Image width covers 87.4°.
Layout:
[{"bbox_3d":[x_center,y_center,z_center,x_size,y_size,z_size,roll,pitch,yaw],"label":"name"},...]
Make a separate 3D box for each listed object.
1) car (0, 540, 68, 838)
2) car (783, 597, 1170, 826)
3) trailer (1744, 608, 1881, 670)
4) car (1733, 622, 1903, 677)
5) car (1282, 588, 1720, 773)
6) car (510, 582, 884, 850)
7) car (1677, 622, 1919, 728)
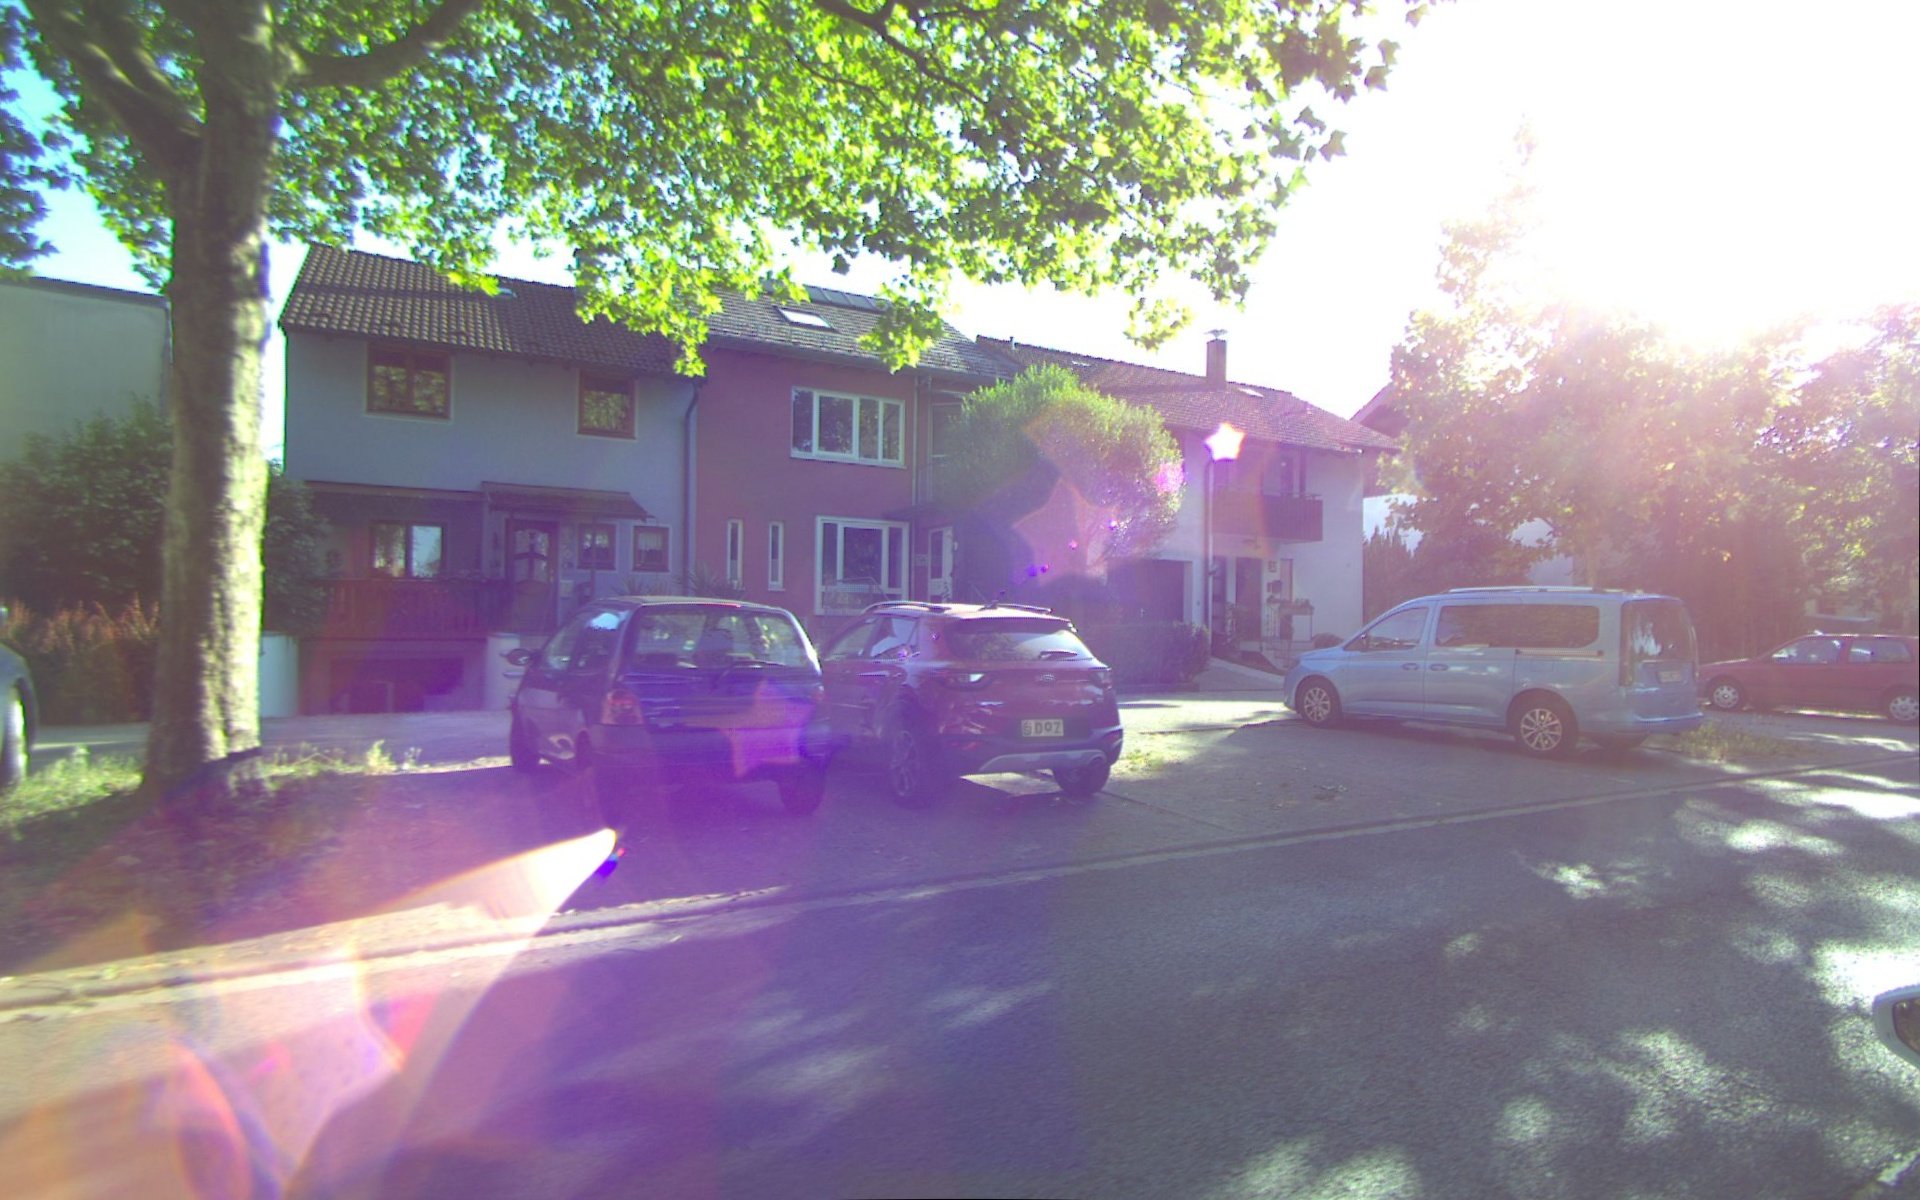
[{"bbox_3d":[-6.006,0.499,4.780,1.810,1.739,4.071,2,-1,-30],"label":"car"},{"bbox_3d":[-0.068,0.765,8.762,1.761,1.537,3.624,1,-1,-30],"label":"car"},{"bbox_3d":[31.735,1.386,37.485,1.623,1.952,3.438,0,4,-28],"label":"trailer"},{"bbox_3d":[29.660,1.673,34.861,1.974,1.497,3.971,2,3,-27],"label":"car"},{"bbox_3d":[6.395,0.800,12.410,1.973,1.848,4.362,1,0,-31],"label":"car"},{"bbox_3d":[-2.204,0.665,7.724,1.709,1.537,3.489,1,0,-34],"label":"car"},{"bbox_3d":[14.997,1.234,17.397,1.646,1.538,3.850,1,0,-31],"label":"car"}]
